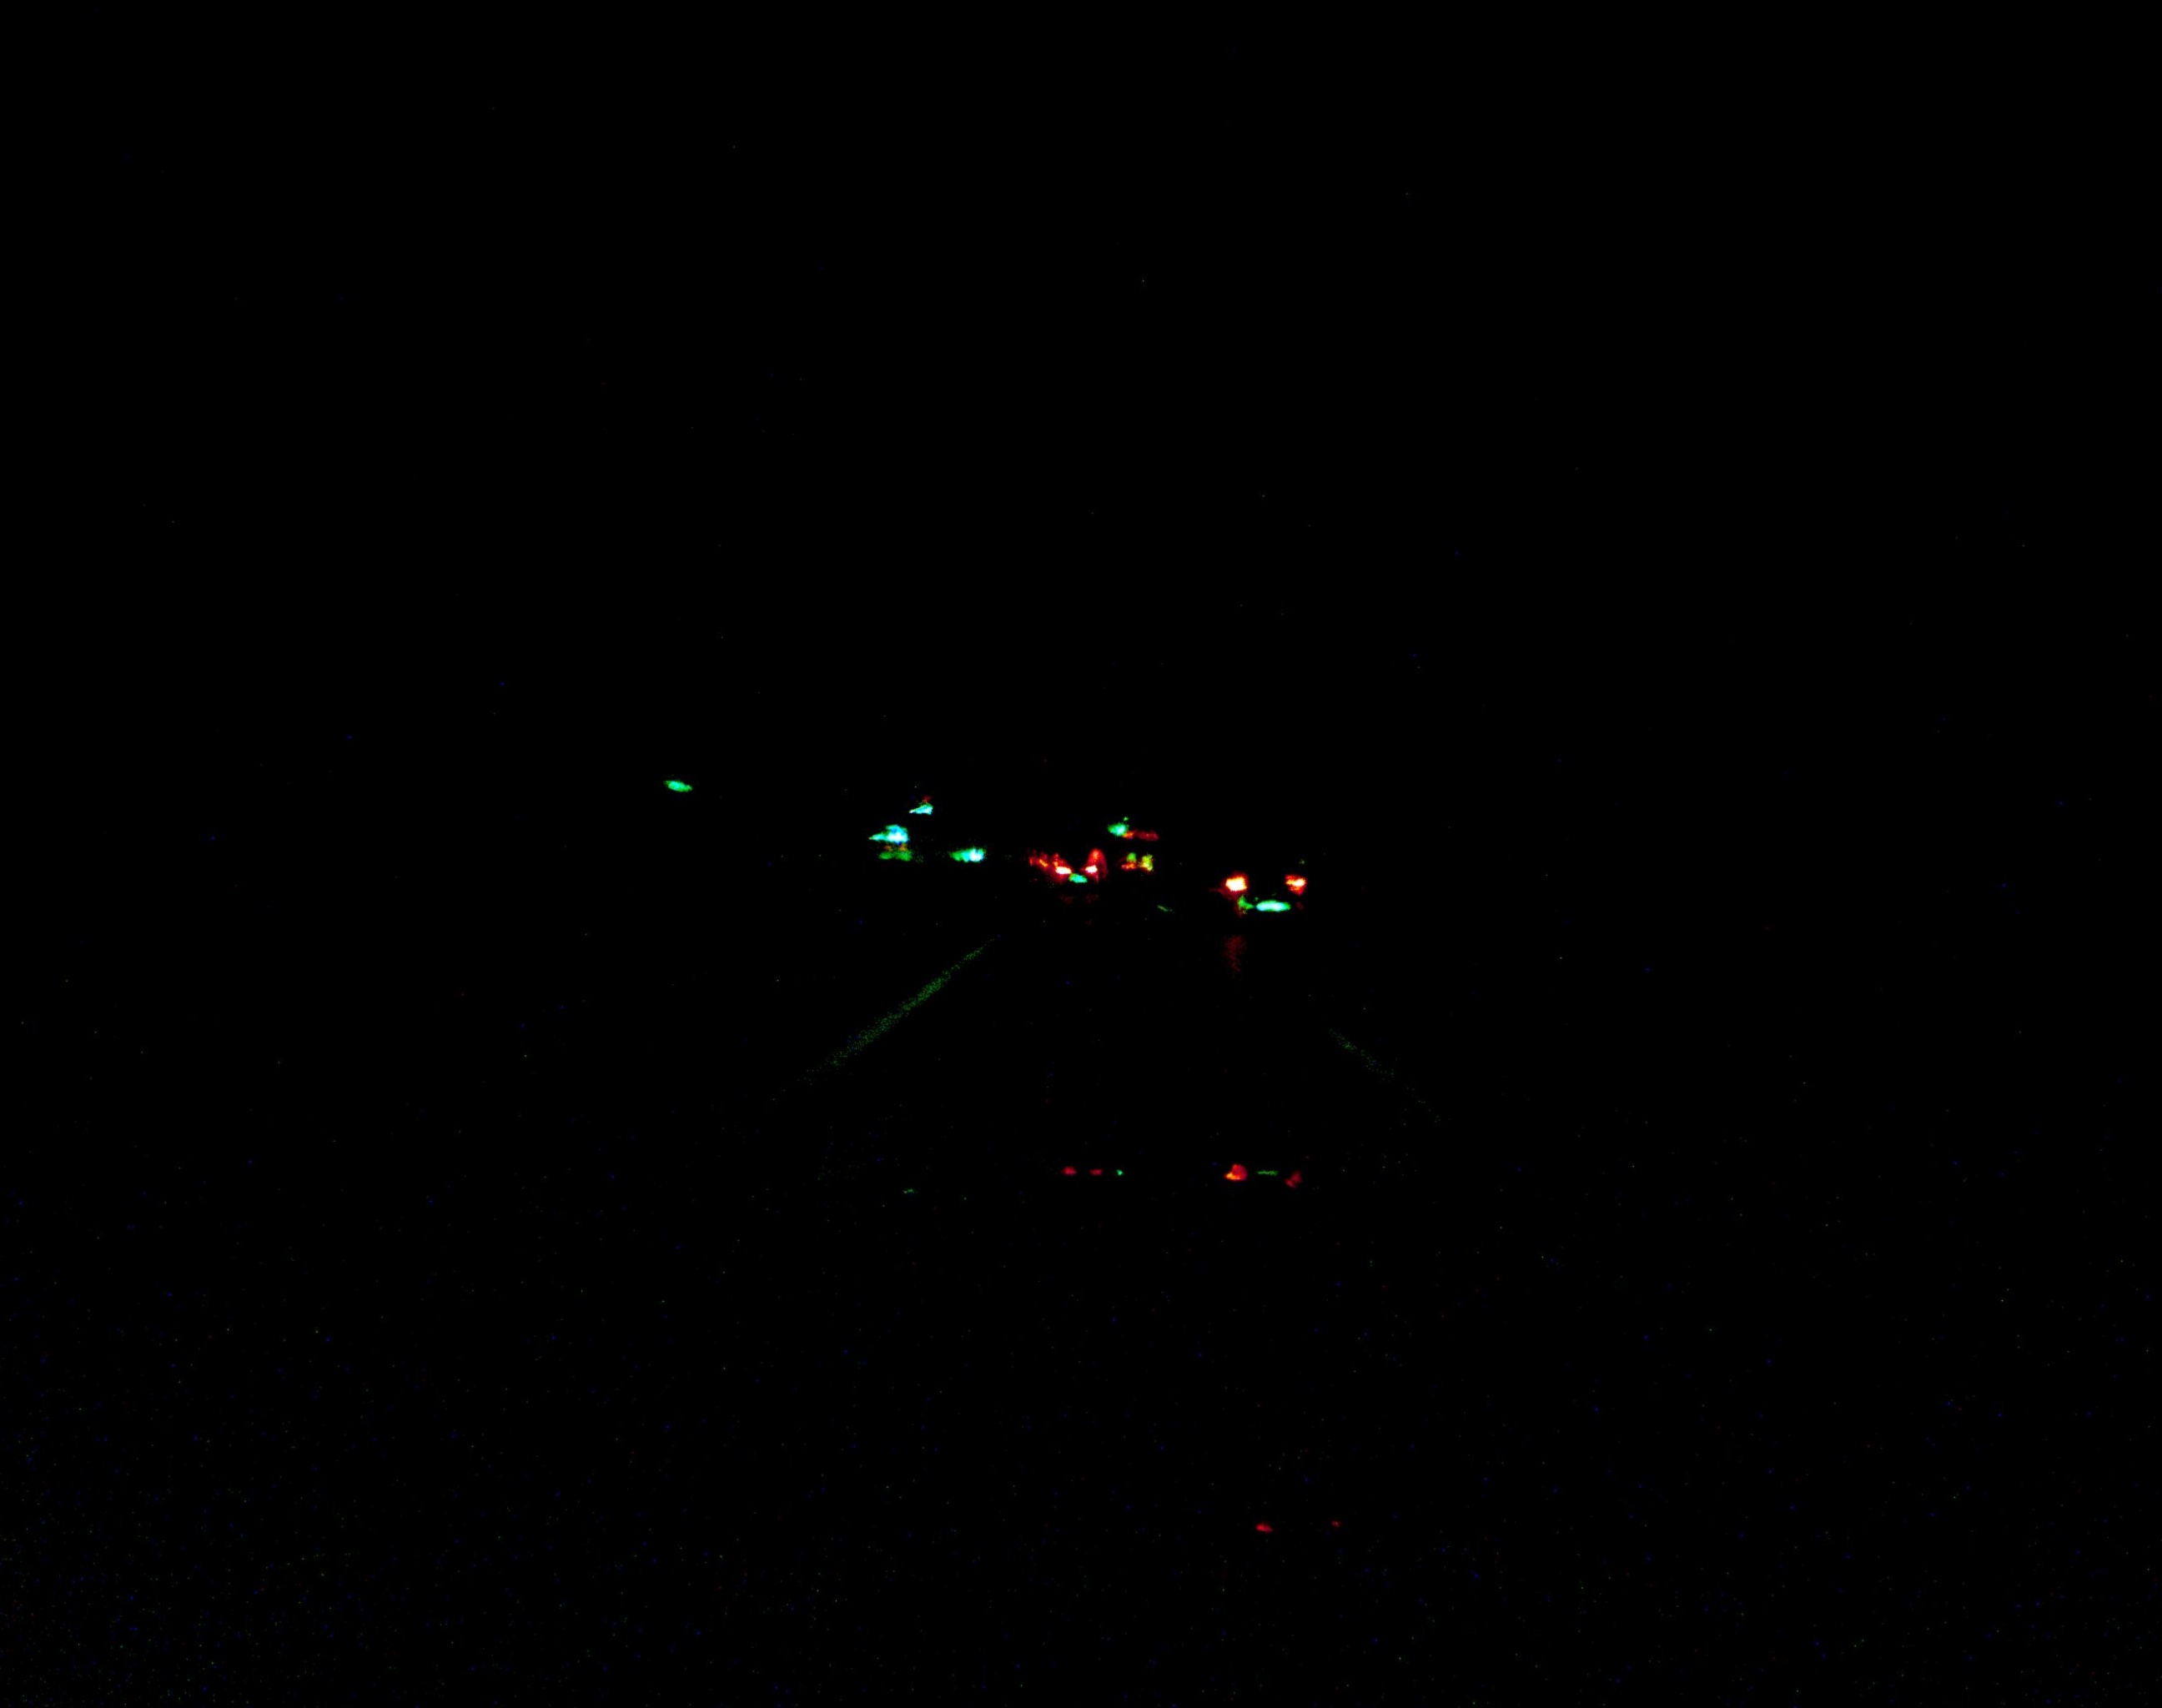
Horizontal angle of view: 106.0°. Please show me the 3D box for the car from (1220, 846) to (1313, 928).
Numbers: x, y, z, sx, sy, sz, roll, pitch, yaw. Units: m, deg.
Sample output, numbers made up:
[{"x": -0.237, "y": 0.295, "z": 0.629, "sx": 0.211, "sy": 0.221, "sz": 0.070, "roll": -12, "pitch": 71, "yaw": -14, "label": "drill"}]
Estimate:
[{"x": 4.052, "y": 0.646, "z": 18.316, "sx": 1.789, "sy": 1.617, "sz": 4.268, "roll": 0, "pitch": 0, "yaw": 10, "label": "car"}]

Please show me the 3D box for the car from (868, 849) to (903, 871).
[{"x": -16.933, "y": 0.498, "z": 70.687, "sx": 1.987, "sy": 1.684, "sz": 3.999, "roll": 3, "pitch": 1, "yaw": 0, "label": "car"}]

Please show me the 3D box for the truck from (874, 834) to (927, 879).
[{"x": -17.922, "y": 0.168, "z": 81.643, "sx": 2.940, "sy": 4.036, "sz": 10.646, "roll": 3, "pitch": 1, "yaw": -2, "label": "truck"}]

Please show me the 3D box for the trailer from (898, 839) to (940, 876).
[{"x": -18.184, "y": 0.326, "z": 91.912, "sx": 2.920, "sy": 3.748, "sz": 9.493, "roll": 3, "pitch": 1, "yaw": -2, "label": "trailer"}]

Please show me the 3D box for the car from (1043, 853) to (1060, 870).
[{"x": -3.914, "y": 1.009, "z": 107.079, "sx": 1.991, "sy": 2.014, "sz": 3.992, "roll": -2, "pitch": -1, "yaw": -6, "label": "car"}]

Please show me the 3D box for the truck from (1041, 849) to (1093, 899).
[{"x": -0.581, "y": 0.887, "z": 40.044, "sx": 2.137, "sy": 2.077, "sz": 6.607, "roll": 3, "pitch": 1, "yaw": 2, "label": "truck"}]

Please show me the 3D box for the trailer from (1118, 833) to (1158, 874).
[{"x": 6.401, "y": -0.210, "z": 94.093, "sx": 2.734, "sy": 4.247, "sz": 13.354, "roll": -3, "pitch": 1, "yaw": -4, "label": "trailer"}]
